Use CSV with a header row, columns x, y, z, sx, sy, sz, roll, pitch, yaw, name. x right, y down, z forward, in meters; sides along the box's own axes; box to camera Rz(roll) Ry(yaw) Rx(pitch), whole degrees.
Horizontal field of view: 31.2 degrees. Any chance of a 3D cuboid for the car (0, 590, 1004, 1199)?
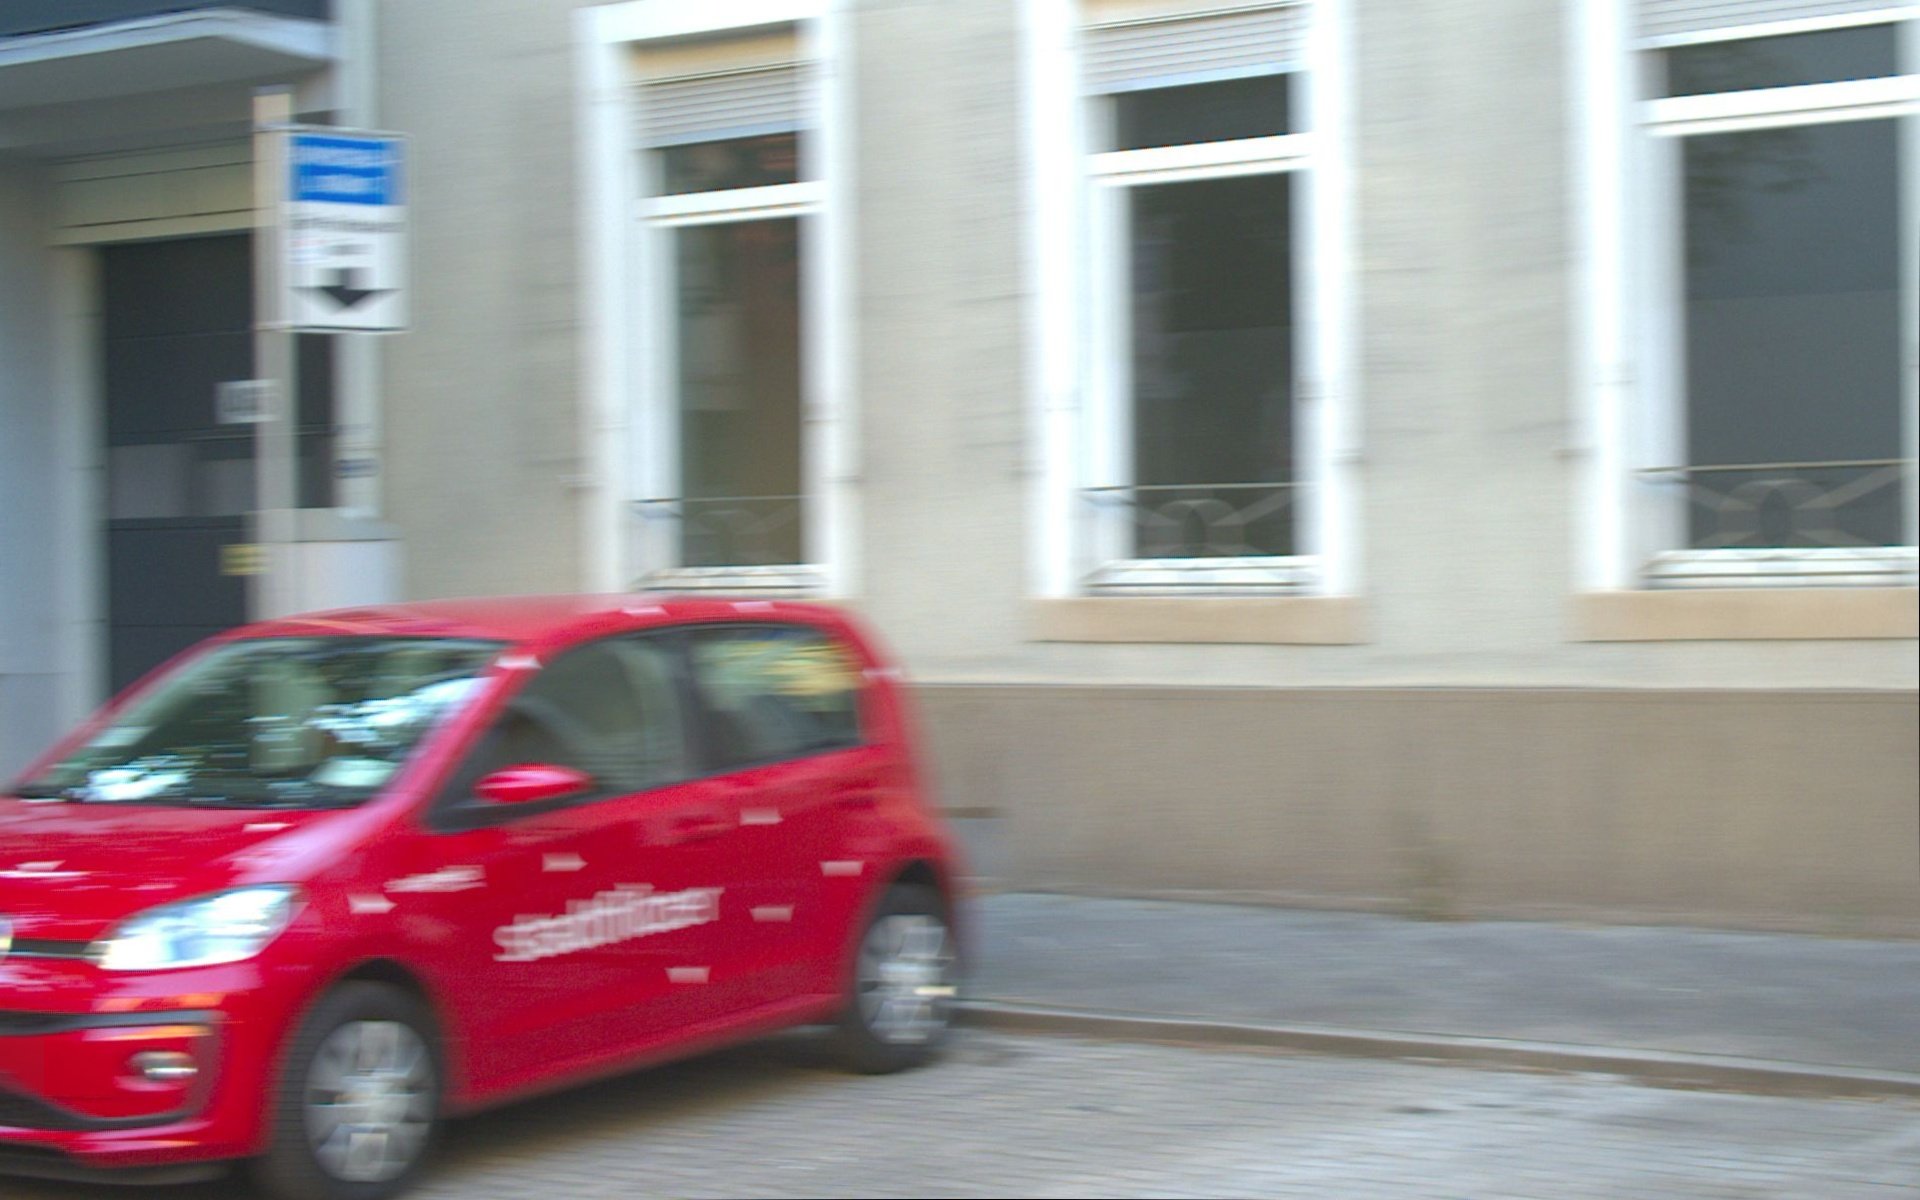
x,y,z,sx,sy,sz,roll,pitch,yaw,name
-1.522,0.759,9.629,1.563,1.470,3.661,0,1,33,car
